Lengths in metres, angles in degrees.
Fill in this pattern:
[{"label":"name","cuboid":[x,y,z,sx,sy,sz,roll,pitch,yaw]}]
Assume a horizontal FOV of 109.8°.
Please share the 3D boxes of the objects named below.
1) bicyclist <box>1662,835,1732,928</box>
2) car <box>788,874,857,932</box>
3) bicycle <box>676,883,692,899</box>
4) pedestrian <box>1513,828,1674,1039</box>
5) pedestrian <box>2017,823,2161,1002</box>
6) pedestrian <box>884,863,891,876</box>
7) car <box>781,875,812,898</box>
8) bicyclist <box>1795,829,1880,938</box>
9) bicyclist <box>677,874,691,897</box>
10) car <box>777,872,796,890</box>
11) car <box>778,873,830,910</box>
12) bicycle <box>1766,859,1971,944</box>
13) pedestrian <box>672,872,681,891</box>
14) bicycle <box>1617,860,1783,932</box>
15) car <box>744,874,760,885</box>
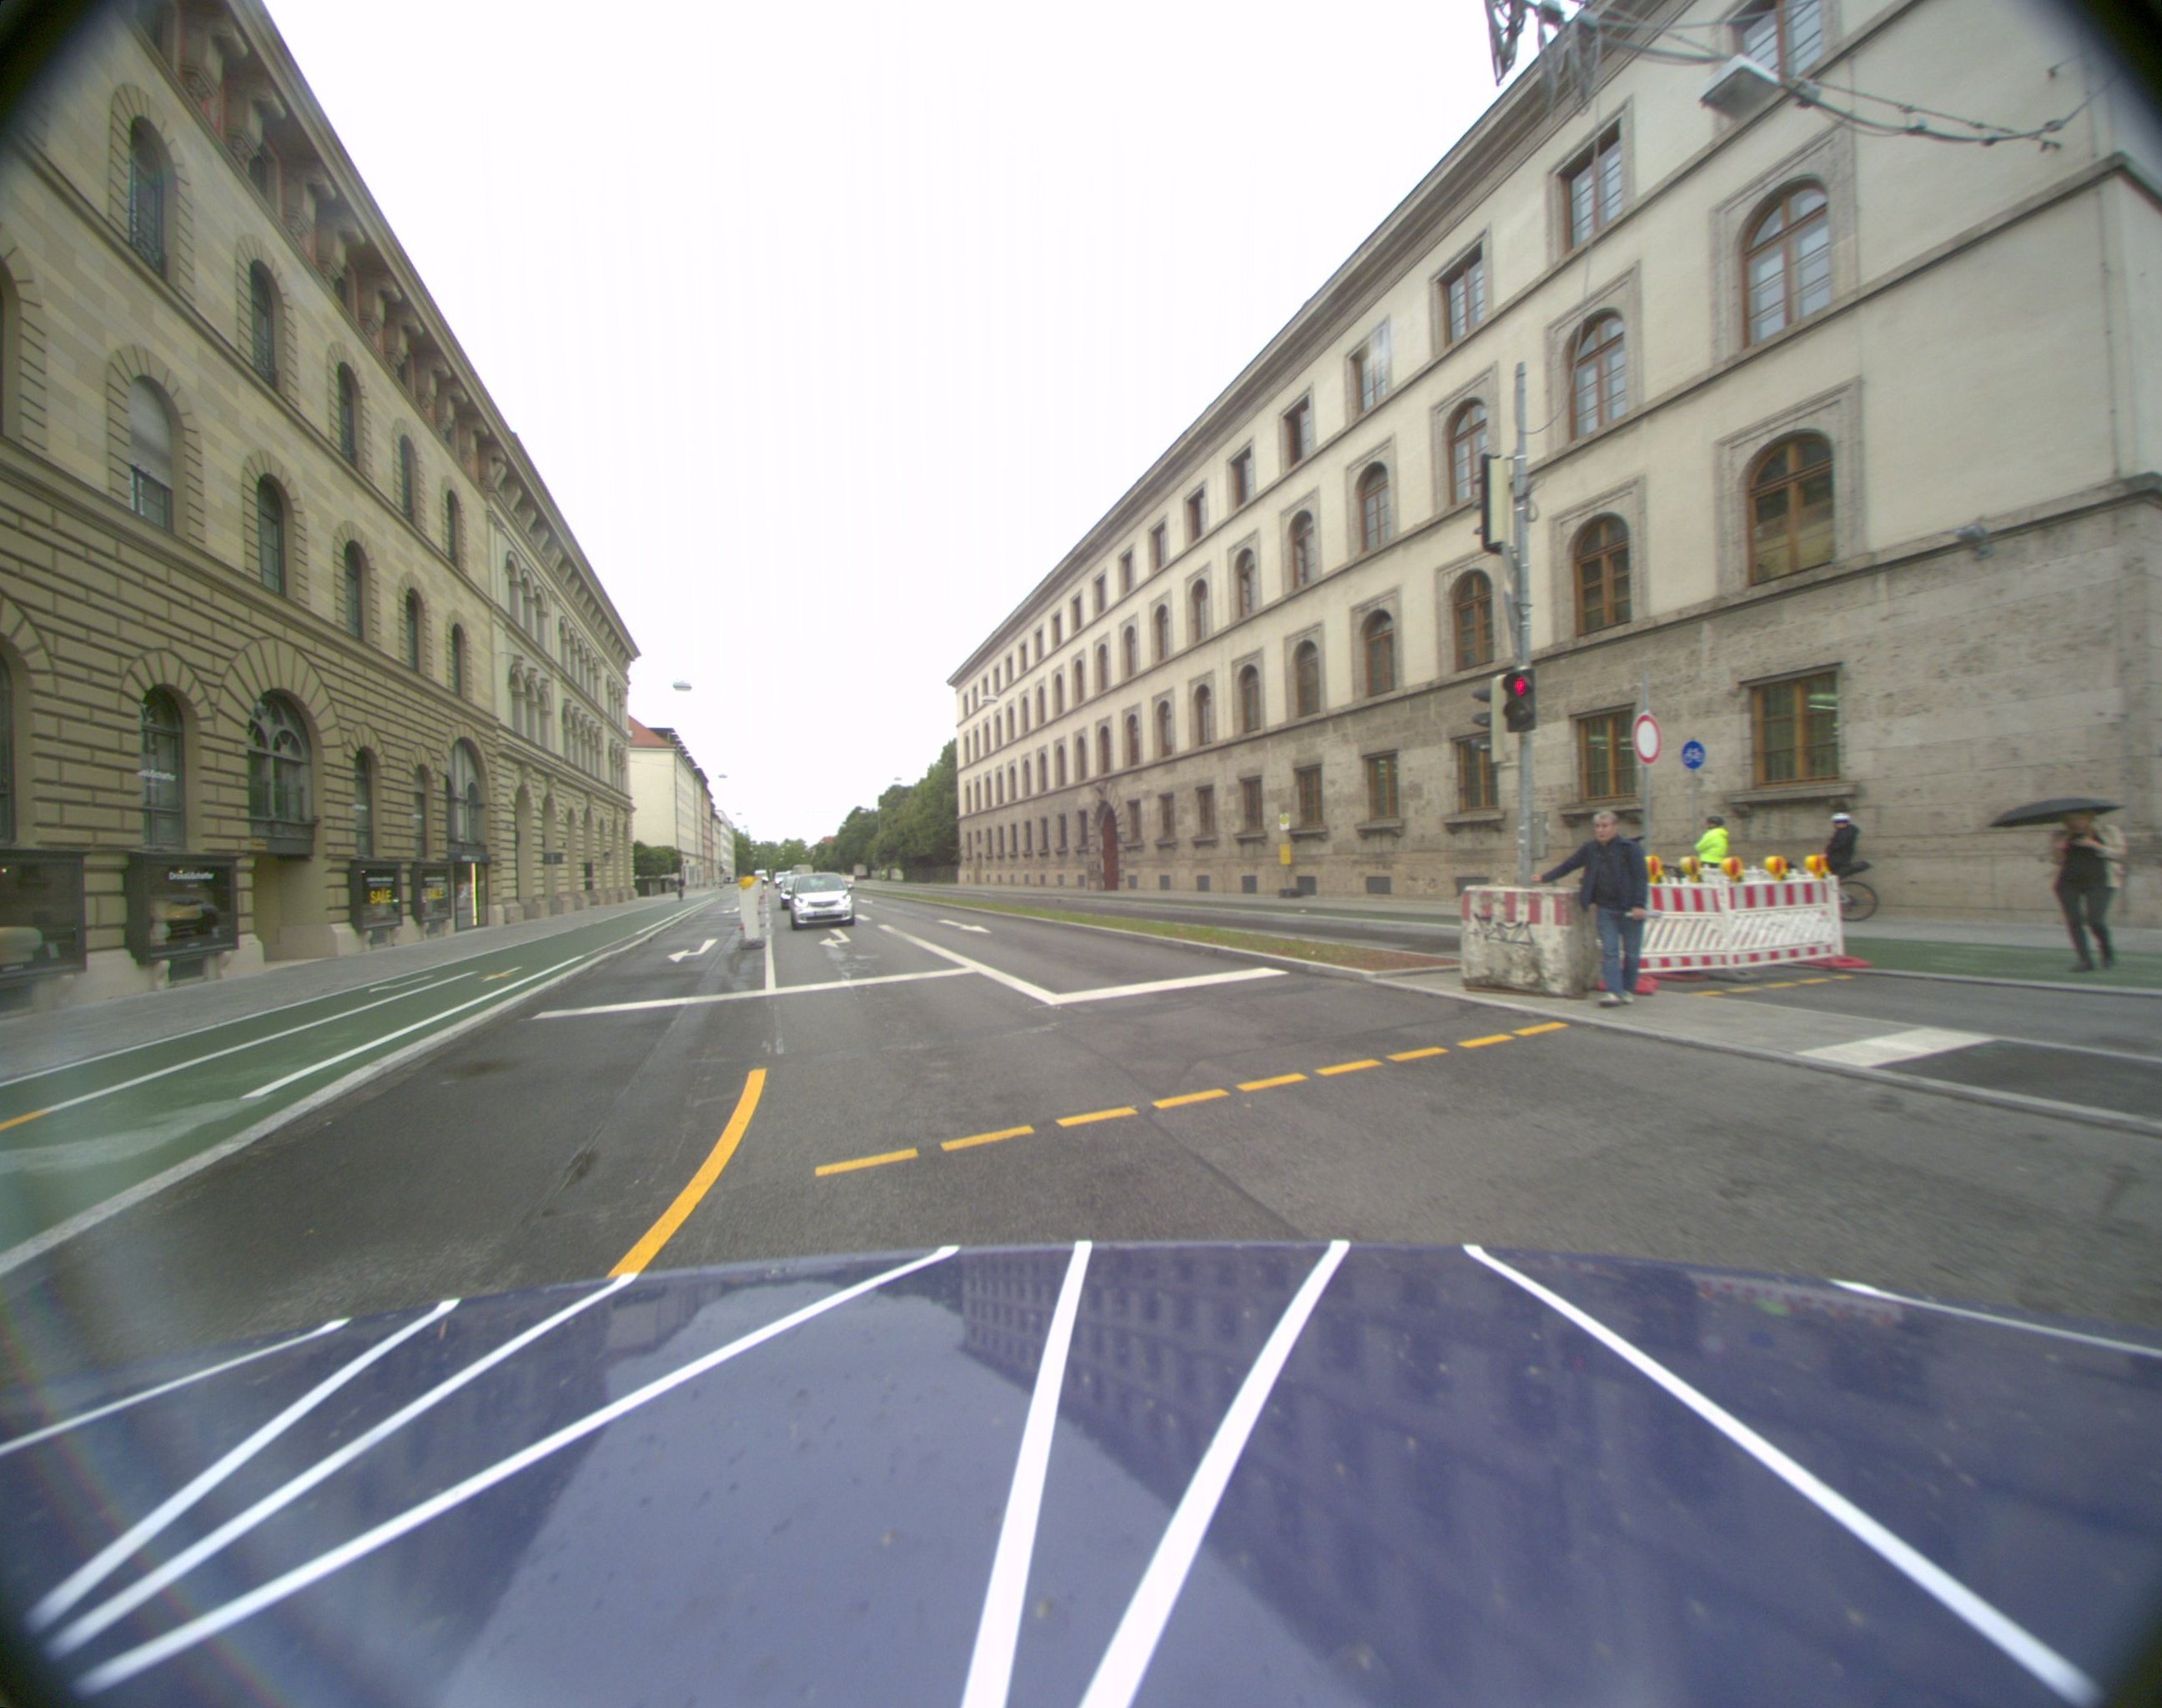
[{"label":"bicyclist","cuboid":[11.980,0.526,14.791,0.801,1.738,0.688,-3,0,-18]},{"label":"car","cuboid":[-7.713,1.366,22.485,1.636,1.494,3.993,-2,0,-22]},{"label":"bicycle","cuboid":[-27.952,2.600,53.543,0.752,1.026,2.526,-3,0,-22]},{"label":"pedestrian","cuboid":[4.583,0.664,6.841,0.515,1.732,1.041,-2,0,-32]},{"label":"pedestrian","cuboid":[10.710,0.582,8.063,0.847,1.761,0.738,-3,0,-24]},{"label":"pedestrian","cuboid":[-30.954,2.524,121.550,0.756,2.002,0.869,-3,0,26]},{"label":"car","cuboid":[-21.331,2.414,56.949,2.002,1.548,4.380,-2,0,-22]},{"label":"bicyclist","cuboid":[12.812,0.486,12.882,0.801,1.765,0.688,-3,0,-18]},{"label":"bicyclist","cuboid":[-27.934,2.205,53.449,0.725,1.543,0.857,-3,0,-23]},{"label":"car","cuboid":[-34.467,3.145,88.820,2.002,2.001,3.993,-1,-1,-22]},{"label":"car","cuboid":[-12.578,1.647,34.351,1.925,1.433,4.299,-4,0,-23]},{"label":"bicycle","cuboid":[12.919,0.734,12.583,0.790,1.235,2.196,-3,0,-18]},{"label":"pedestrian","cuboid":[-40.329,2.694,75.715,0.656,1.863,0.824,0,-1,-22]},{"label":"bicycle","cuboid":[11.980,0.770,14.839,0.790,1.235,2.445,-3,0,-18]},{"label":"car","cuboid":[-40.703,3.155,94.009,1.742,1.313,3.993,-2,0,-22]}]
